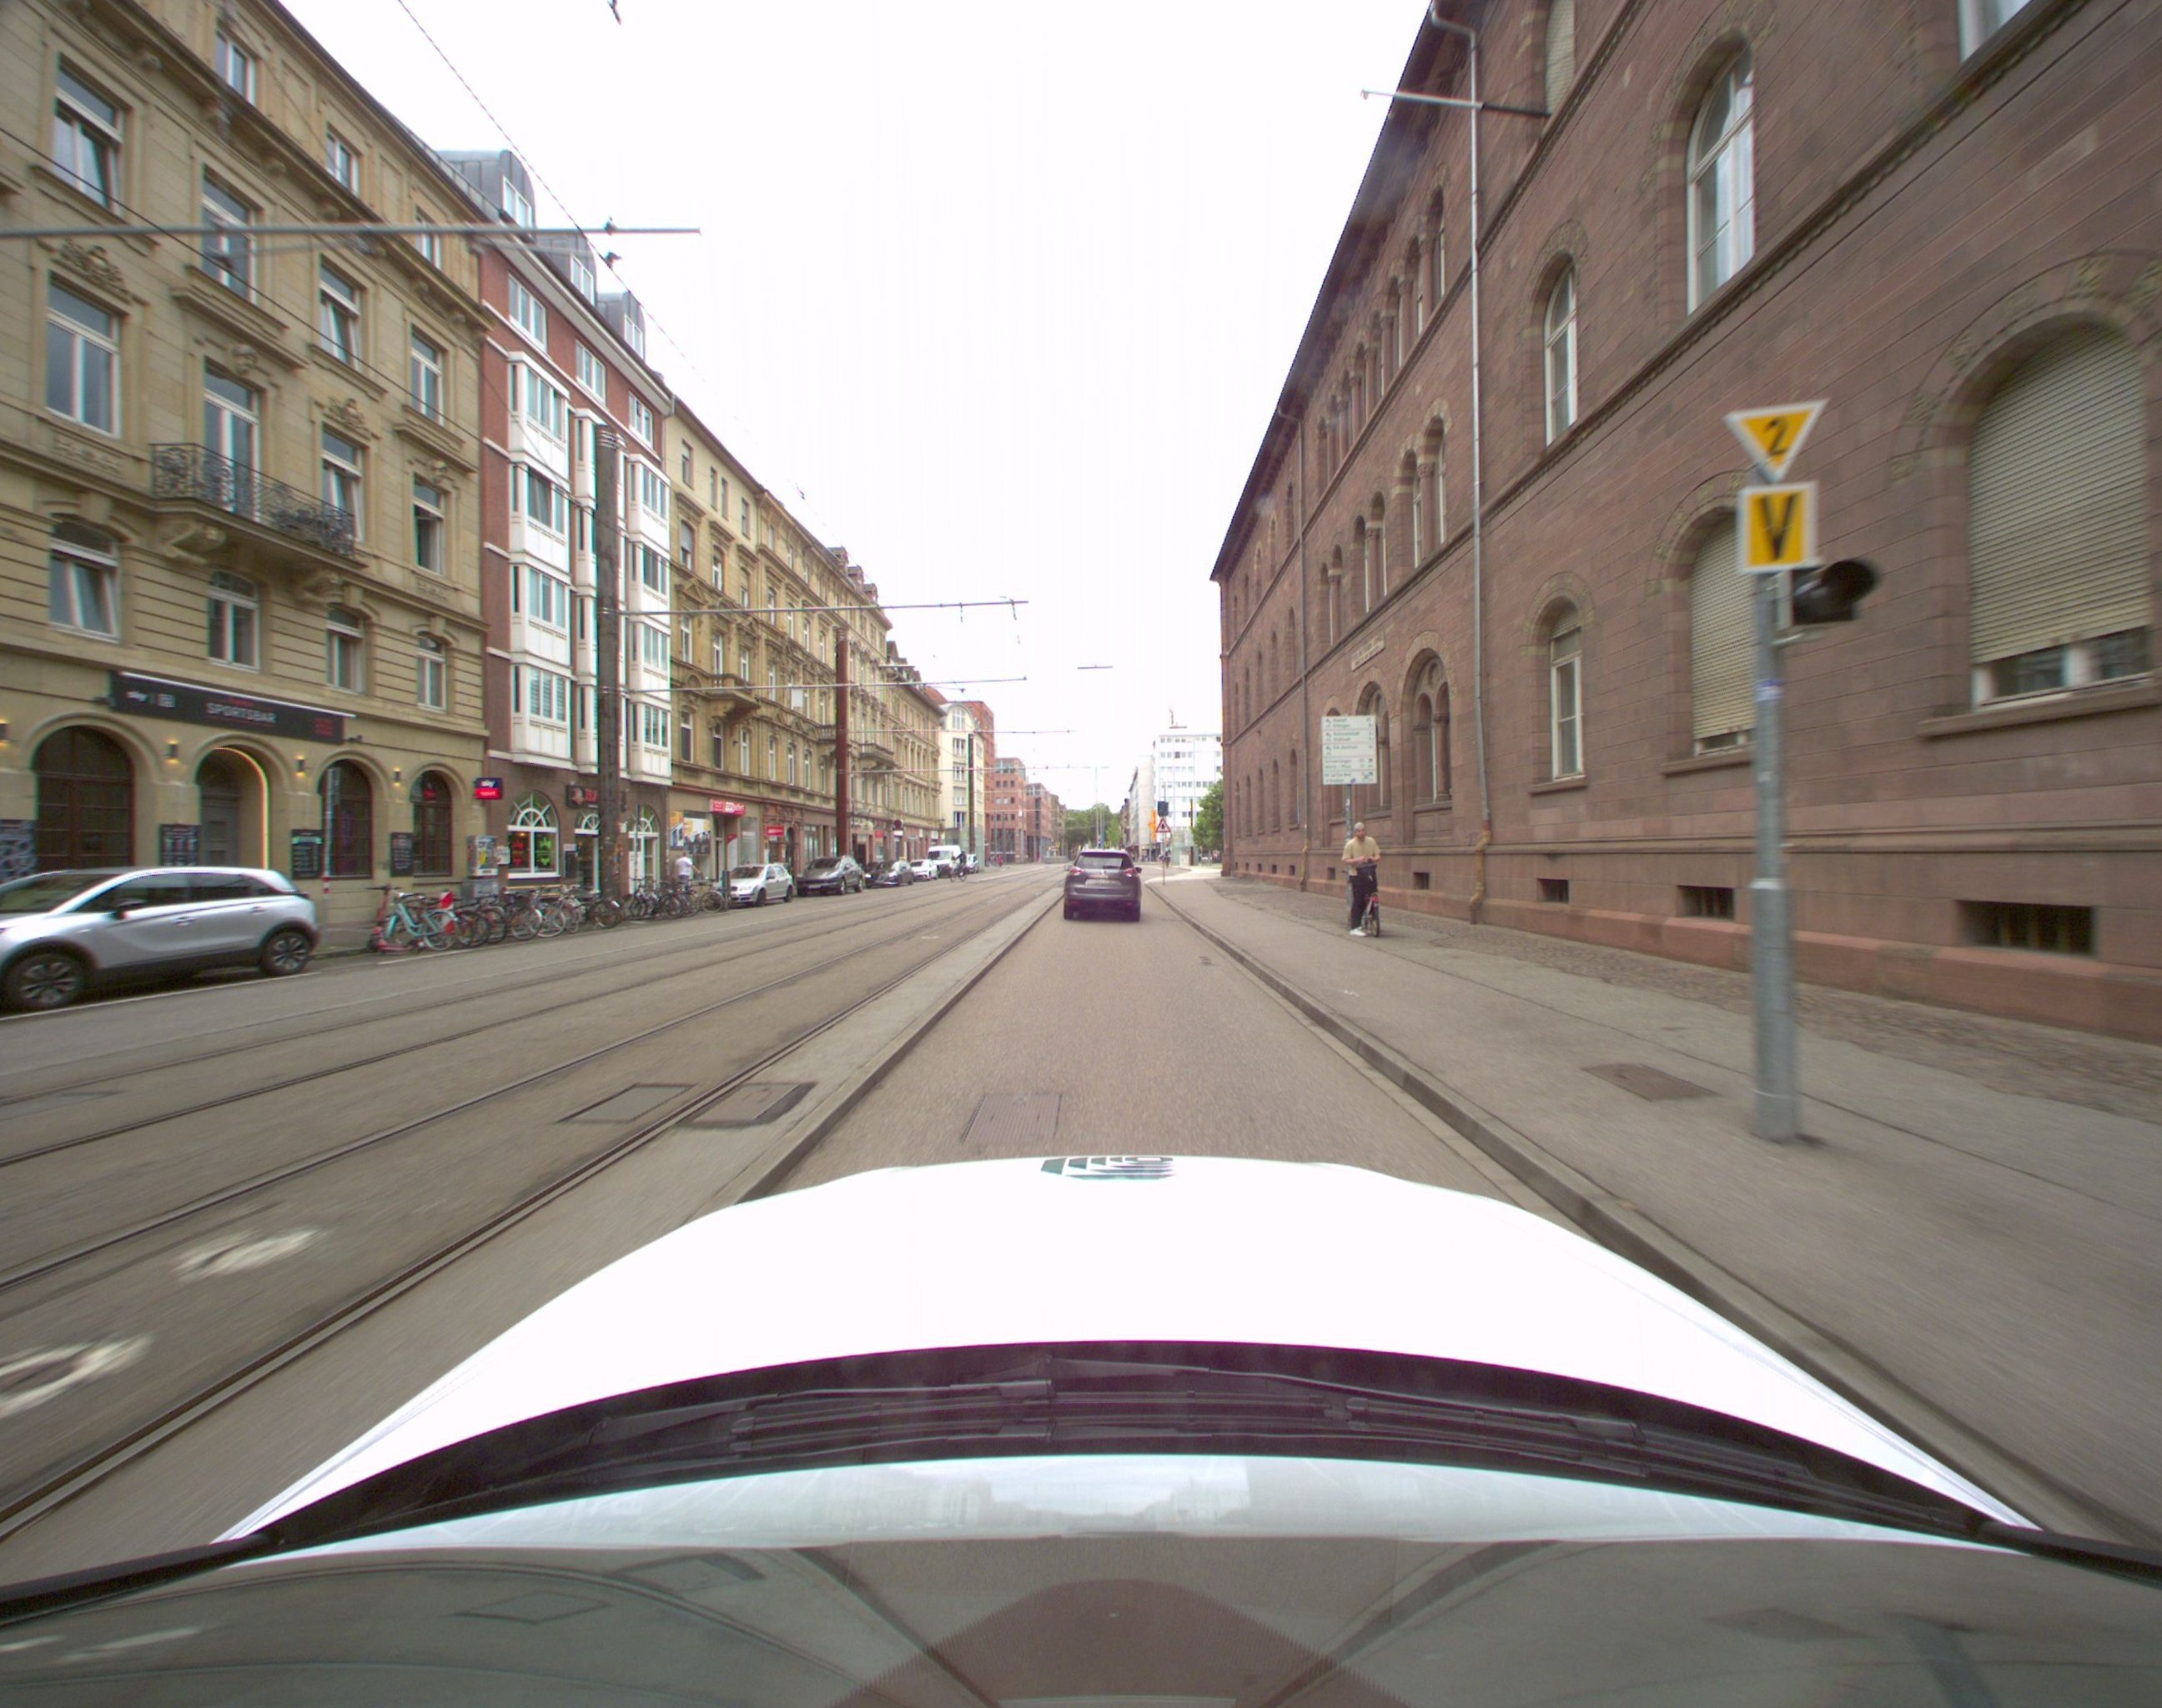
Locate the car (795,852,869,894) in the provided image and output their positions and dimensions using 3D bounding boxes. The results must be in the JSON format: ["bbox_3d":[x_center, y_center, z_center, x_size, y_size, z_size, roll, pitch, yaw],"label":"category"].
[{"bbox_3d":[-11.081,0.786,36.598,1.808,1.690,5.029,-2,0,-1],"label":"car"}]

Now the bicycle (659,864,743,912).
[{"bbox_3d":[-11.593,1.040,24.853,2.273,1.329,0.521,-3,-1,1],"label":"bicycle"}]

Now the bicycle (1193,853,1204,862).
[{"bbox_3d":[13.894,0.415,96.556,0.651,0.978,1.765,-1,-1,30],"label":"bicycle"}]

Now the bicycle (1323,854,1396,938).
[{"bbox_3d":[4.604,0.648,13.614,0.443,1.276,2.227,-3,0,1],"label":"bicycle"}]

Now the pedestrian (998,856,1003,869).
[{"bbox_3d":[-10.601,1.080,107.200,0.720,1.687,0.660,-1,-2,-9],"label":"pedestrian"}]

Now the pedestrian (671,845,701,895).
[{"bbox_3d":[-14.534,0.582,29.986,0.646,1.782,0.790,0,-1,38],"label":"pedestrian"}]

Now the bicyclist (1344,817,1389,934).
[{"bbox_3d":[4.621,0.345,13.212,0.527,1.858,0.450,-2,-1,1],"label":"bicyclist"}]

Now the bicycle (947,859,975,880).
[{"bbox_3d":[-7.242,0.920,49.246,0.579,1.174,2.057,-3,-1,28],"label":"bicycle"}]

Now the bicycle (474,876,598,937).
[{"bbox_3d":[-12.052,1.143,18.042,2.273,1.203,0.666,-3,0,1],"label":"bicycle"}]

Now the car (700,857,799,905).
[{"bbox_3d":[-11.419,0.885,28.309,1.737,1.488,3.921,-2,0,1],"label":"car"}]

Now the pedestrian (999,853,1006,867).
[{"bbox_3d":[-11.029,0.816,114.291,0.894,1.890,0.799,1,-2,-1],"label":"pedestrian"}]

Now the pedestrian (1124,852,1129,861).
[{"bbox_3d":[8.769,0.458,156.961,0.731,1.746,0.661,0,-1,-7],"label":"pedestrian"}]

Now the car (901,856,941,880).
[{"bbox_3d":[-10.752,0.923,55.034,1.765,1.423,4.164,-3,0,0],"label":"car"}]

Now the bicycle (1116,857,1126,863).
[{"bbox_3d":[7.805,1.147,157.643,1.869,1.172,0.528,0,-1,-13],"label":"bicycle"}]

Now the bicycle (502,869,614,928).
[{"bbox_3d":[-12.024,1.016,18.741,2.273,1.294,0.448,1,0,1],"label":"bicycle"}]

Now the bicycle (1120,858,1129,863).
[{"bbox_3d":[8.370,1.279,157.500,1.697,1.065,0.435,0,-1,-13],"label":"bicycle"}]

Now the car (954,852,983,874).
[{"bbox_3d":[-10.107,0.803,73.734,1.896,1.864,4.520,-2,0,0],"label":"car"}]

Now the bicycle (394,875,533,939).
[{"bbox_3d":[-12.031,1.029,15.890,2.273,1.203,0.540,0,-2,1],"label":"bicycle"}]

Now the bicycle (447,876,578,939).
[{"bbox_3d":[-12.071,1.121,17.328,2.273,1.203,0.666,-3,0,1],"label":"bicycle"}]

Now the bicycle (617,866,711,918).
[{"bbox_3d":[-11.732,1.065,22.945,2.273,1.329,0.666,-3,0,1],"label":"bicycle"}]

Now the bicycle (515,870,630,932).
[{"bbox_3d":[-12.022,1.101,19.296,2.273,1.329,0.666,-3,0,1],"label":"bicycle"}]

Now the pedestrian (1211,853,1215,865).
[{"bbox_3d":[17.049,0.655,105.231,0.431,1.556,0.499,0,-1,1],"label":"pedestrian"}]

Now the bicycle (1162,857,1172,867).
[{"bbox_3d":[9.168,0.830,86.673,0.897,1.045,3.281,0,-1,4],"label":"bicycle"}]

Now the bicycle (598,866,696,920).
[{"bbox_3d":[-11.768,1.054,22.116,2.273,1.329,0.666,-3,0,1],"label":"bicycle"}]

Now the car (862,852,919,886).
[{"bbox_3d":[-10.547,0.783,45.442,1.913,1.689,5.052,-3,0,0],"label":"car"}]

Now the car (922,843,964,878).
[{"bbox_3d":[-10.571,0.467,62.826,2.046,2.487,5.666,-3,0,1],"label":"car"}]

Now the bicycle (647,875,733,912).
[{"bbox_3d":[-11.627,1.163,24.233,2.273,1.041,0.620,0,0,1],"label":"bicycle"}]

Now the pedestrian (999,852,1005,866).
[{"bbox_3d":[-10.189,0.646,104.781,0.660,1.687,0.720,-1,-2,-11],"label":"pedestrian"}]

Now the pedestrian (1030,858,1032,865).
[{"bbox_3d":[-10.359,1.541,169.234,0.450,1.532,0.519,0,-1,-16],"label":"pedestrian"}]

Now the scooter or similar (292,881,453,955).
[{"bbox_3d":[-12.096,1.084,13.932,2.273,1.203,0.548,0,0,1],"label":"scooter or similar"}]

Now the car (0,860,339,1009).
[{"bbox_3d":[-12.146,0.882,10.191,1.737,1.533,4.226,-2,0,1],"label":"car"}]

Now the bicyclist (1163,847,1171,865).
[{"bbox_3d":[9.135,0.217,86.548,0.830,1.812,0.878,0,-1,4],"label":"bicyclist"}]

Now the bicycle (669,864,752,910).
[{"bbox_3d":[-11.619,1.020,25.576,2.273,1.329,0.666,-3,0,1],"label":"bicycle"}]

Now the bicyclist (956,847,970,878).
[{"bbox_3d":[-7.140,0.524,49.263,0.642,1.883,1.029,0,-1,3],"label":"bicyclist"}]

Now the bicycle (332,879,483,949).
[{"bbox_3d":[-12.024,1.060,14.567,2.273,1.203,0.548,0,0,1],"label":"bicycle"}]

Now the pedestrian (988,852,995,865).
[{"bbox_3d":[-11.665,0.539,106.136,0.869,1.687,0.659,-1,-2,-13],"label":"pedestrian"}]

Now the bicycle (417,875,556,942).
[{"bbox_3d":[-12.051,1.092,16.552,2.273,1.203,0.705,-3,0,1],"label":"bicycle"}]

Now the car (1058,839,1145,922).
[{"bbox_3d":[0.640,0.593,20.681,1.854,1.774,4.573,3,0,5],"label":"car"}]

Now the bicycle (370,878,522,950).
[{"bbox_3d":[-11.862,1.104,15.249,2.273,1.203,0.705,-3,0,1],"label":"bicycle"}]
